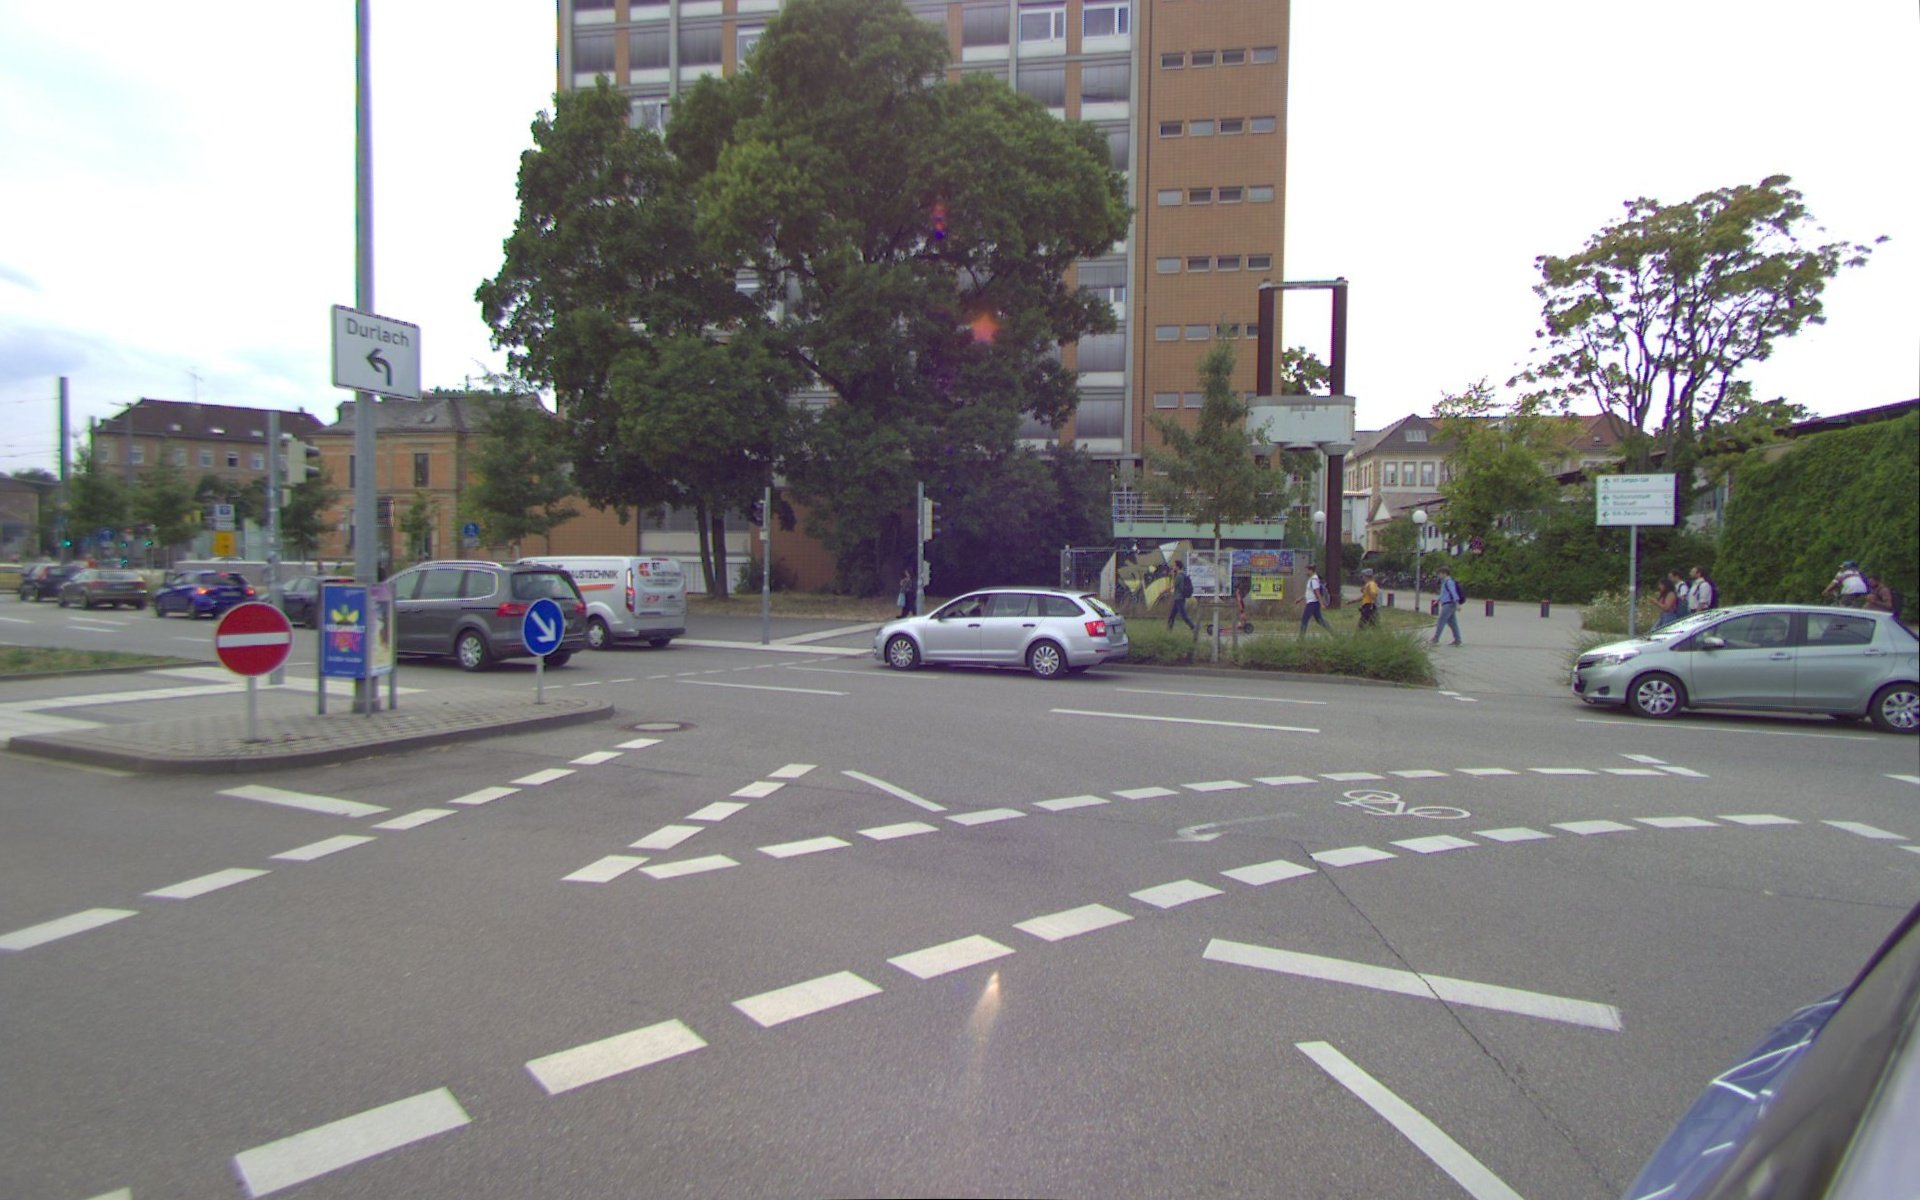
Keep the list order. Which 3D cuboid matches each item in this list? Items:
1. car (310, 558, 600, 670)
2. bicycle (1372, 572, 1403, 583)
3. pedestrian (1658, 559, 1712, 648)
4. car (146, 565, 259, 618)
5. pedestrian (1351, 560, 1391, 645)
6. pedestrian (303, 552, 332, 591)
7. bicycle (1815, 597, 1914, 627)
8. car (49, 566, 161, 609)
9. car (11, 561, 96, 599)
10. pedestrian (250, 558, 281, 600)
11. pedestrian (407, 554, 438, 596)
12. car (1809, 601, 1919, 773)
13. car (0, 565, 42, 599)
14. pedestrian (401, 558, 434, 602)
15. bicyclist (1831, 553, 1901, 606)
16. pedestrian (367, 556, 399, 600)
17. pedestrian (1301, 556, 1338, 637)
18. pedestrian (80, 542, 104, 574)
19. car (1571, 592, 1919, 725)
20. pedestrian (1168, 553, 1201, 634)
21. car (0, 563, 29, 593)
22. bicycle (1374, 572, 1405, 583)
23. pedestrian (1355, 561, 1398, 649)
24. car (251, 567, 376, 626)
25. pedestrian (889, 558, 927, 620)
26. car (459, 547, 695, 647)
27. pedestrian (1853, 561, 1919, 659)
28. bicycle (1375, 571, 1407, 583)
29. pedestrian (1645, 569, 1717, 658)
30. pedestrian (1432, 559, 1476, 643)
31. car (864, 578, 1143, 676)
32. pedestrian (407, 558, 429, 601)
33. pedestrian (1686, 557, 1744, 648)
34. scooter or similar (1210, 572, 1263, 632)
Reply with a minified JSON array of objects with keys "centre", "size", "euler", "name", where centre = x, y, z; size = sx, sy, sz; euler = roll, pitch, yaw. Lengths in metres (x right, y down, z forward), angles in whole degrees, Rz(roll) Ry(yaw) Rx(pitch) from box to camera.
[{"centre":[-8.401,0.177,16.816],"size":[4.633,1.671,1.747],"euler":[1,0,23],"name":"car"},{"centre":[27.620,-1.446,65.359],"size":[1.823,0.702,0.647],"euler":[1,0,22],"name":"bicycle"},{"centre":[14.533,0.064,20.302],"size":[0.698,1.733,0.636],"euler":[1,0,17],"name":"pedestrian"},{"centre":[-23.661,-0.290,31.584],"size":[3.980,1.552,1.839],"euler":[1,0,38],"name":"car"},{"centre":[8.535,0.052,21.041],"size":[0.698,1.733,0.636],"euler":[1,0,17],"name":"pedestrian"},{"centre":[-26.773,-1.218,42.183],"size":[0.808,1.593,0.769],"euler":[2,4,39],"name":"pedestrian"},{"centre":[22.413,0.290,25.101],"size":[1.807,0.702,0.845],"euler":[1,0,-7],"name":"bicycle"},{"centre":[-30.592,-0.443,36.200],"size":[3.674,1.438,2.113],"euler":[1,0,34],"name":"car"},{"centre":[-36.372,-0.798,40.591],"size":[3.674,1.438,1.689],"euler":[1,0,34],"name":"car"},{"centre":[-26.975,-0.824,39.302],"size":[0.808,1.593,0.769],"euler":[2,4,39],"name":"pedestrian"},{"centre":[-20.749,-0.986,39.089],"size":[0.808,1.593,0.769],"euler":[2,4,39],"name":"pedestrian"},{"centre":[10.484,0.787,8.951],"size":[4.168,1.476,1.750],"euler":[1,0,19],"name":"car"},{"centre":[-41.543,-0.790,43.915],"size":[3.674,1.438,1.689],"euler":[1,0,34],"name":"car"},{"centre":[-20.024,-0.738,37.356],"size":[0.808,1.593,0.769],"euler":[2,4,39],"name":"pedestrian"},{"centre":[22.465,-0.499,25.105],"size":[0.992,1.293,0.841],"euler":[1,0,-7],"name":"bicyclist"},{"centre":[-21.574,-0.838,37.834],"size":[0.808,1.593,0.769],"euler":[2,4,39],"name":"pedestrian"},{"centre":[7.902,-0.090,22.263],"size":[0.698,1.732,0.637],"euler":[1,1,17],"name":"pedestrian"},{"centre":[-44.580,-2.162,51.987],"size":[0.808,1.593,0.769],"euler":[2,4,39],"name":"pedestrian"},{"centre":[10.276,0.681,13.093],"size":[3.833,1.508,1.658],"euler":[1,0,24],"name":"car"},{"centre":[5.265,-0.167,23.700],"size":[0.698,1.875,0.637],"euler":[1,2,17],"name":"pedestrian"},{"centre":[-47.528,-1.108,49.811],"size":[3.674,1.438,1.689],"euler":[1,0,34],"name":"car"},{"centre":[28.432,-1.474,67.016],"size":[1.823,0.702,0.647],"euler":[1,0,22],"name":"bicycle"},{"centre":[8.357,0.086,20.327],"size":[0.698,1.732,0.637],"euler":[1,2,17],"name":"pedestrian"},{"centre":[-17.851,-0.116,27.906],"size":[3.610,1.527,1.651],"euler":[1,0,35],"name":"car"},{"centre":[-1.362,-0.311,26.783],"size":[0.801,1.593,0.777],"euler":[1,3,17],"name":"pedestrian"},{"centre":[-8.422,-0.100,22.185],"size":[5.152,1.984,1.809],"euler":[1,0,26],"name":"car"},{"centre":[17.131,0.178,18.447],"size":[0.999,1.733,0.835],"euler":[1,0,17],"name":"pedestrian"},{"centre":[27.134,-1.443,63.736],"size":[1.823,0.702,0.647],"euler":[1,0,22],"name":"bicycle"},{"centre":[13.331,0.224,18.743],"size":[0.789,1.561,0.836],"euler":[1,4,16],"name":"pedestrian"},{"centre":[10.473,-0.001,21.489],"size":[0.698,1.731,0.637],"euler":[1,3,17],"name":"pedestrian"},{"centre":[0.728,0.396,17.491],"size":[4.482,1.493,1.809],"euler":[1,0,26],"name":"car"},{"centre":[-19.970,-0.766,37.294],"size":[0.539,1.555,0.550],"euler":[0,3,-6],"name":"pedestrian"},{"centre":[14.549,0.044,19.529],"size":[0.698,1.733,0.636],"euler":[1,0,17],"name":"pedestrian"},{"centre":[6.541,0.048,23.948],"size":[1.127,1.387,0.398],"euler":[1,0,4],"name":"scooter or similar"}]
